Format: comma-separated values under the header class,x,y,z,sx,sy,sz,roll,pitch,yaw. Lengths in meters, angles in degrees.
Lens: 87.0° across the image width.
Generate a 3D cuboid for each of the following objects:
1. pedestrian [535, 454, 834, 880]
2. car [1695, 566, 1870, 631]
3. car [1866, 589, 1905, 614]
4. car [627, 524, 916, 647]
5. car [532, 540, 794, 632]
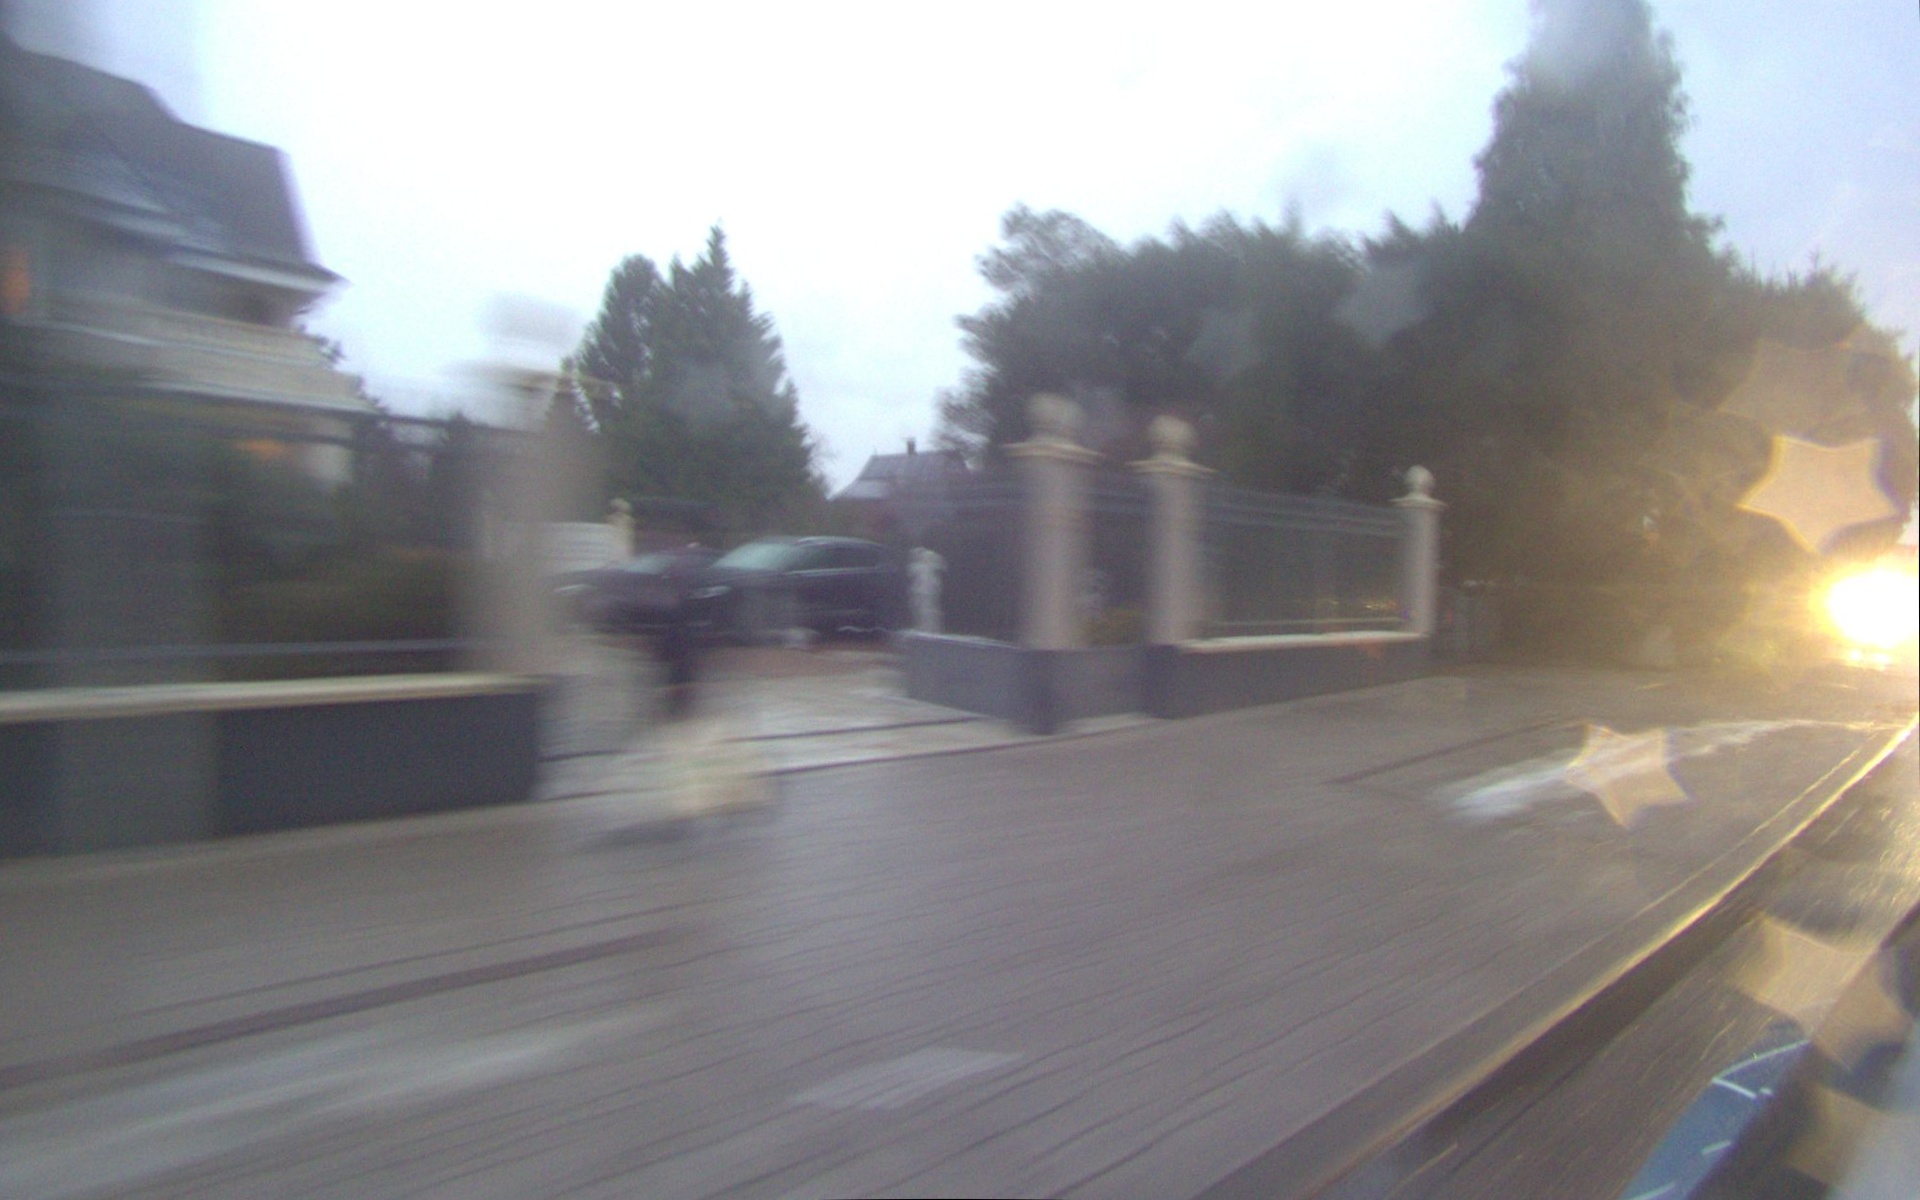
class,x,y,z,sx,sy,sz,roll,pitch,yaw
pedestrian,-1.344,0.248,4.893,1.037,1.763,0.990,0,3,-40
car,27.368,-0.092,33.832,4.319,1.753,1.971,6,4,40
car,62.698,0.063,68.594,1.769,1.638,3.816,1,2,40
car,-2.870,-0.269,16.033,1.941,1.683,4.165,3,3,43
car,-5.025,-0.267,17.403,3.933,1.392,1.808,-1,3,-43
